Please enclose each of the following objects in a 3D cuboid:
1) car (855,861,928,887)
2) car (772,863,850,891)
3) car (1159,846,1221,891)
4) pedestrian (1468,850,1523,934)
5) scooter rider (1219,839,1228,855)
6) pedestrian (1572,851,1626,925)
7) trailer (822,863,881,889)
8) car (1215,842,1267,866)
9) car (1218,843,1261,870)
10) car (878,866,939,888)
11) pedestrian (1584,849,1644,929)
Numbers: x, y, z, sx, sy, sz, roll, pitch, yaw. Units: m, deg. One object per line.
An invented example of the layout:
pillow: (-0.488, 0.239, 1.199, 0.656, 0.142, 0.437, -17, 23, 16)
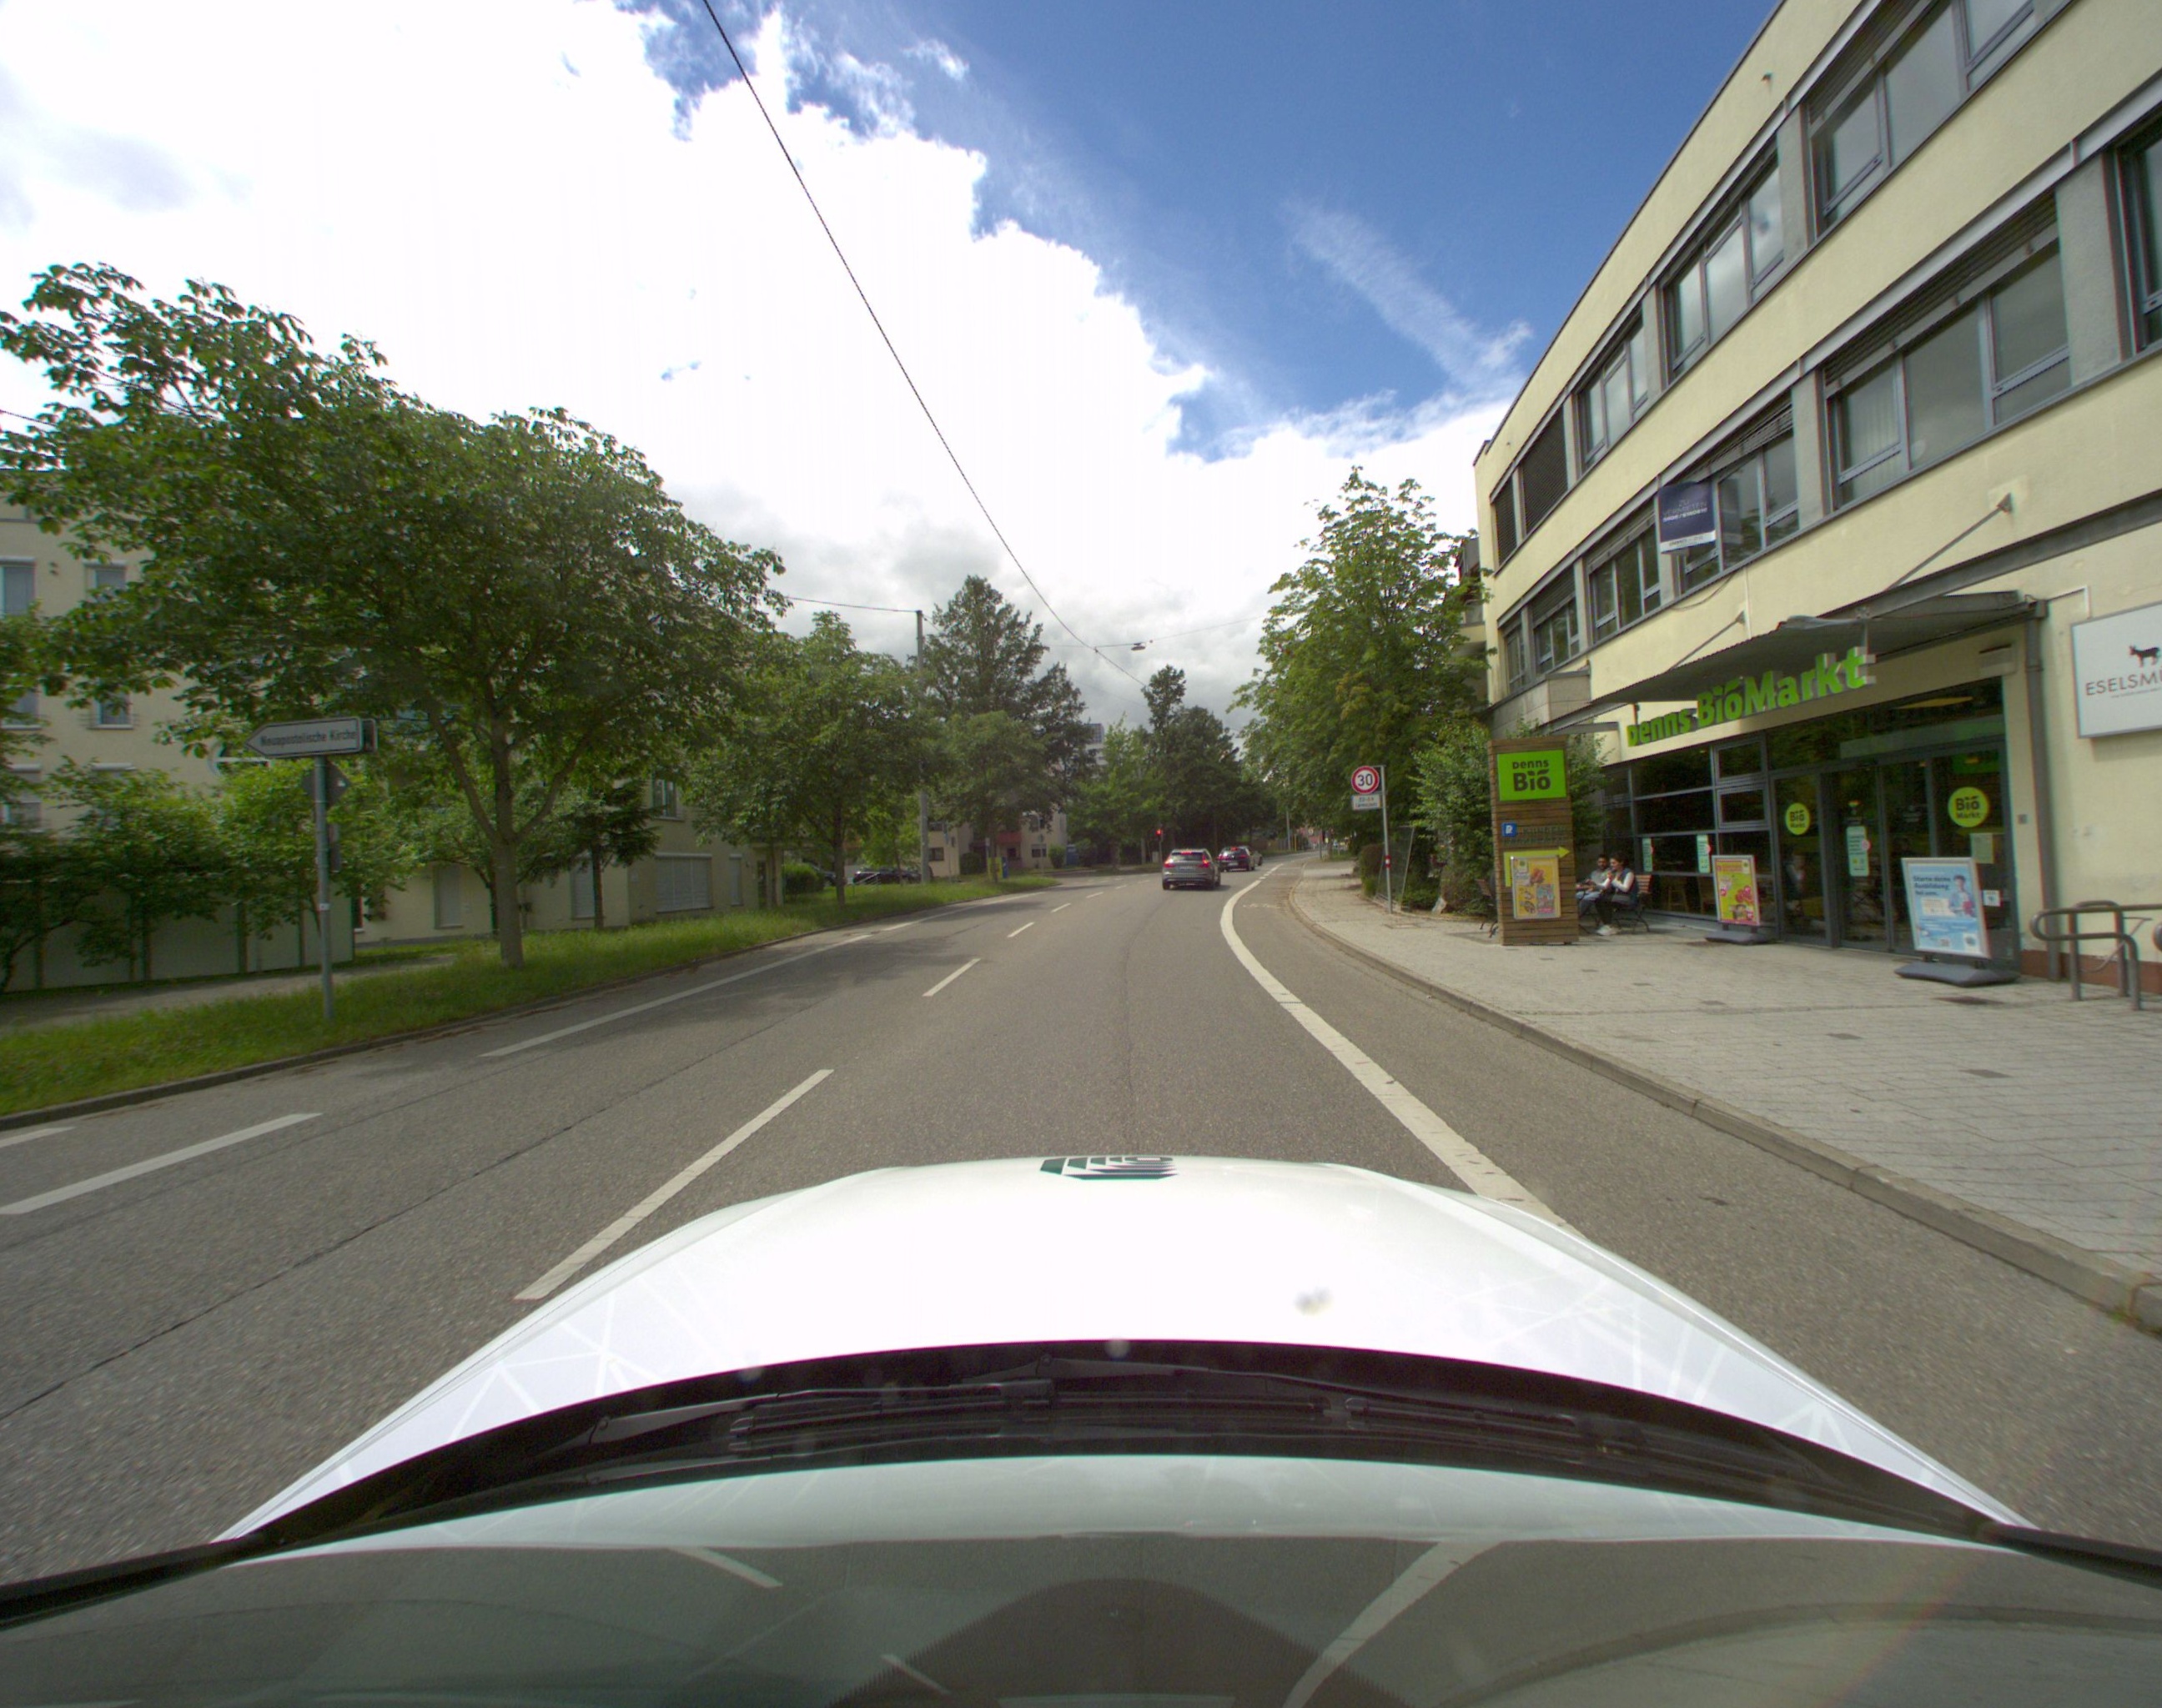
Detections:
car: (-11.843, 1.273, 51.120, 4.060, 1.400, 1.796, -2, -4, 3)
car: (-17.057, 1.439, 51.512, 4.158, 1.523, 1.903, -3, -1, 3)
car: (4.166, 0.466, 30.507, 1.943, 1.523, 4.344, 0, 1, 12)
pedestrian: (6.714, 0.611, 13.211, 0.682, 1.316, 0.581, -2, -1, 21)
scooter rider: (16.225, -0.804, 92.461, 0.708, 1.727, 0.675, -1, -1, -22)
pedestrian: (8.531, 0.552, 13.422, 0.520, 1.181, 0.500, -2, -1, -6)
trailer: (-16.991, 1.640, 60.319, 3.892, 1.799, 1.630, -2, -4, 1)
car: (11.371, 0.034, 57.756, 1.787, 1.616, 4.356, 0, 0, 38)
car: (9.413, 0.123, 48.218, 1.789, 1.523, 4.352, 0, 1, 21)
car: (-12.711, 1.690, 60.057, 4.060, 1.400, 1.796, -2, -4, 3)
pedestrian: (8.261, 0.541, 12.637, 0.574, 1.204, 0.504, -2, -1, 4)
